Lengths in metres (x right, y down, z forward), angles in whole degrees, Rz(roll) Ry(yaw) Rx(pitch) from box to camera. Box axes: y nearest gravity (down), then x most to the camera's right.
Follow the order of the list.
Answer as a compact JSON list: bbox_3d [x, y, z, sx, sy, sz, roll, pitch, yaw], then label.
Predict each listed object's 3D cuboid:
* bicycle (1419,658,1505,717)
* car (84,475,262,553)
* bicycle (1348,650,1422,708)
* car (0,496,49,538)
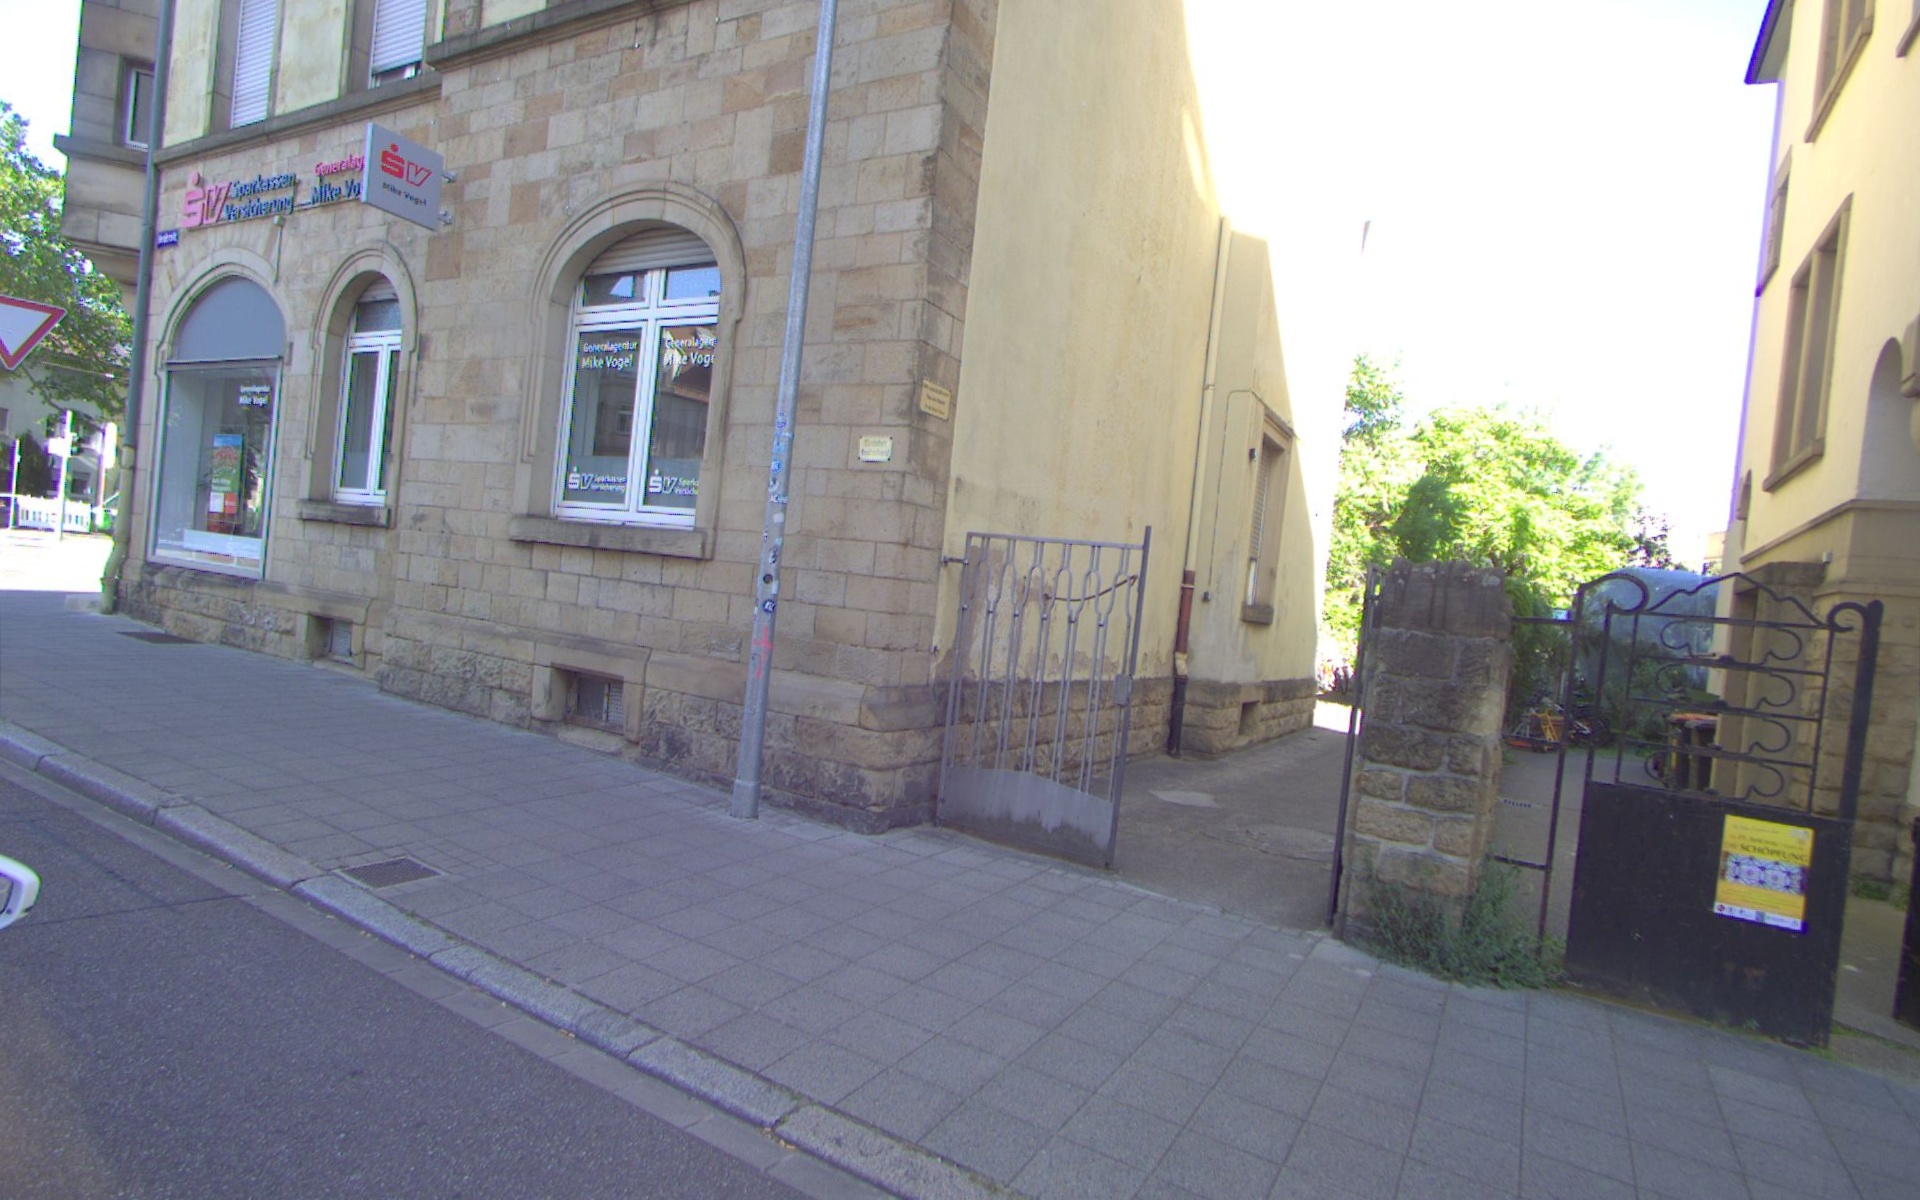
[{"bbox_3d":[12.245,2.096,24.647,0.855,1.124,2.864,6,0,7],"label":"bicycle"},{"bbox_3d":[-34.116,-3.659,43.911,1.962,2.600,6.061,7,0,14],"label":"car"},{"bbox_3d":[10.558,1.937,25.118,0.860,1.180,2.659,6,0,6],"label":"bicycle"},{"bbox_3d":[-38.511,-3.393,39.792,1.496,1.506,3.391,7,0,10],"label":"car"}]
